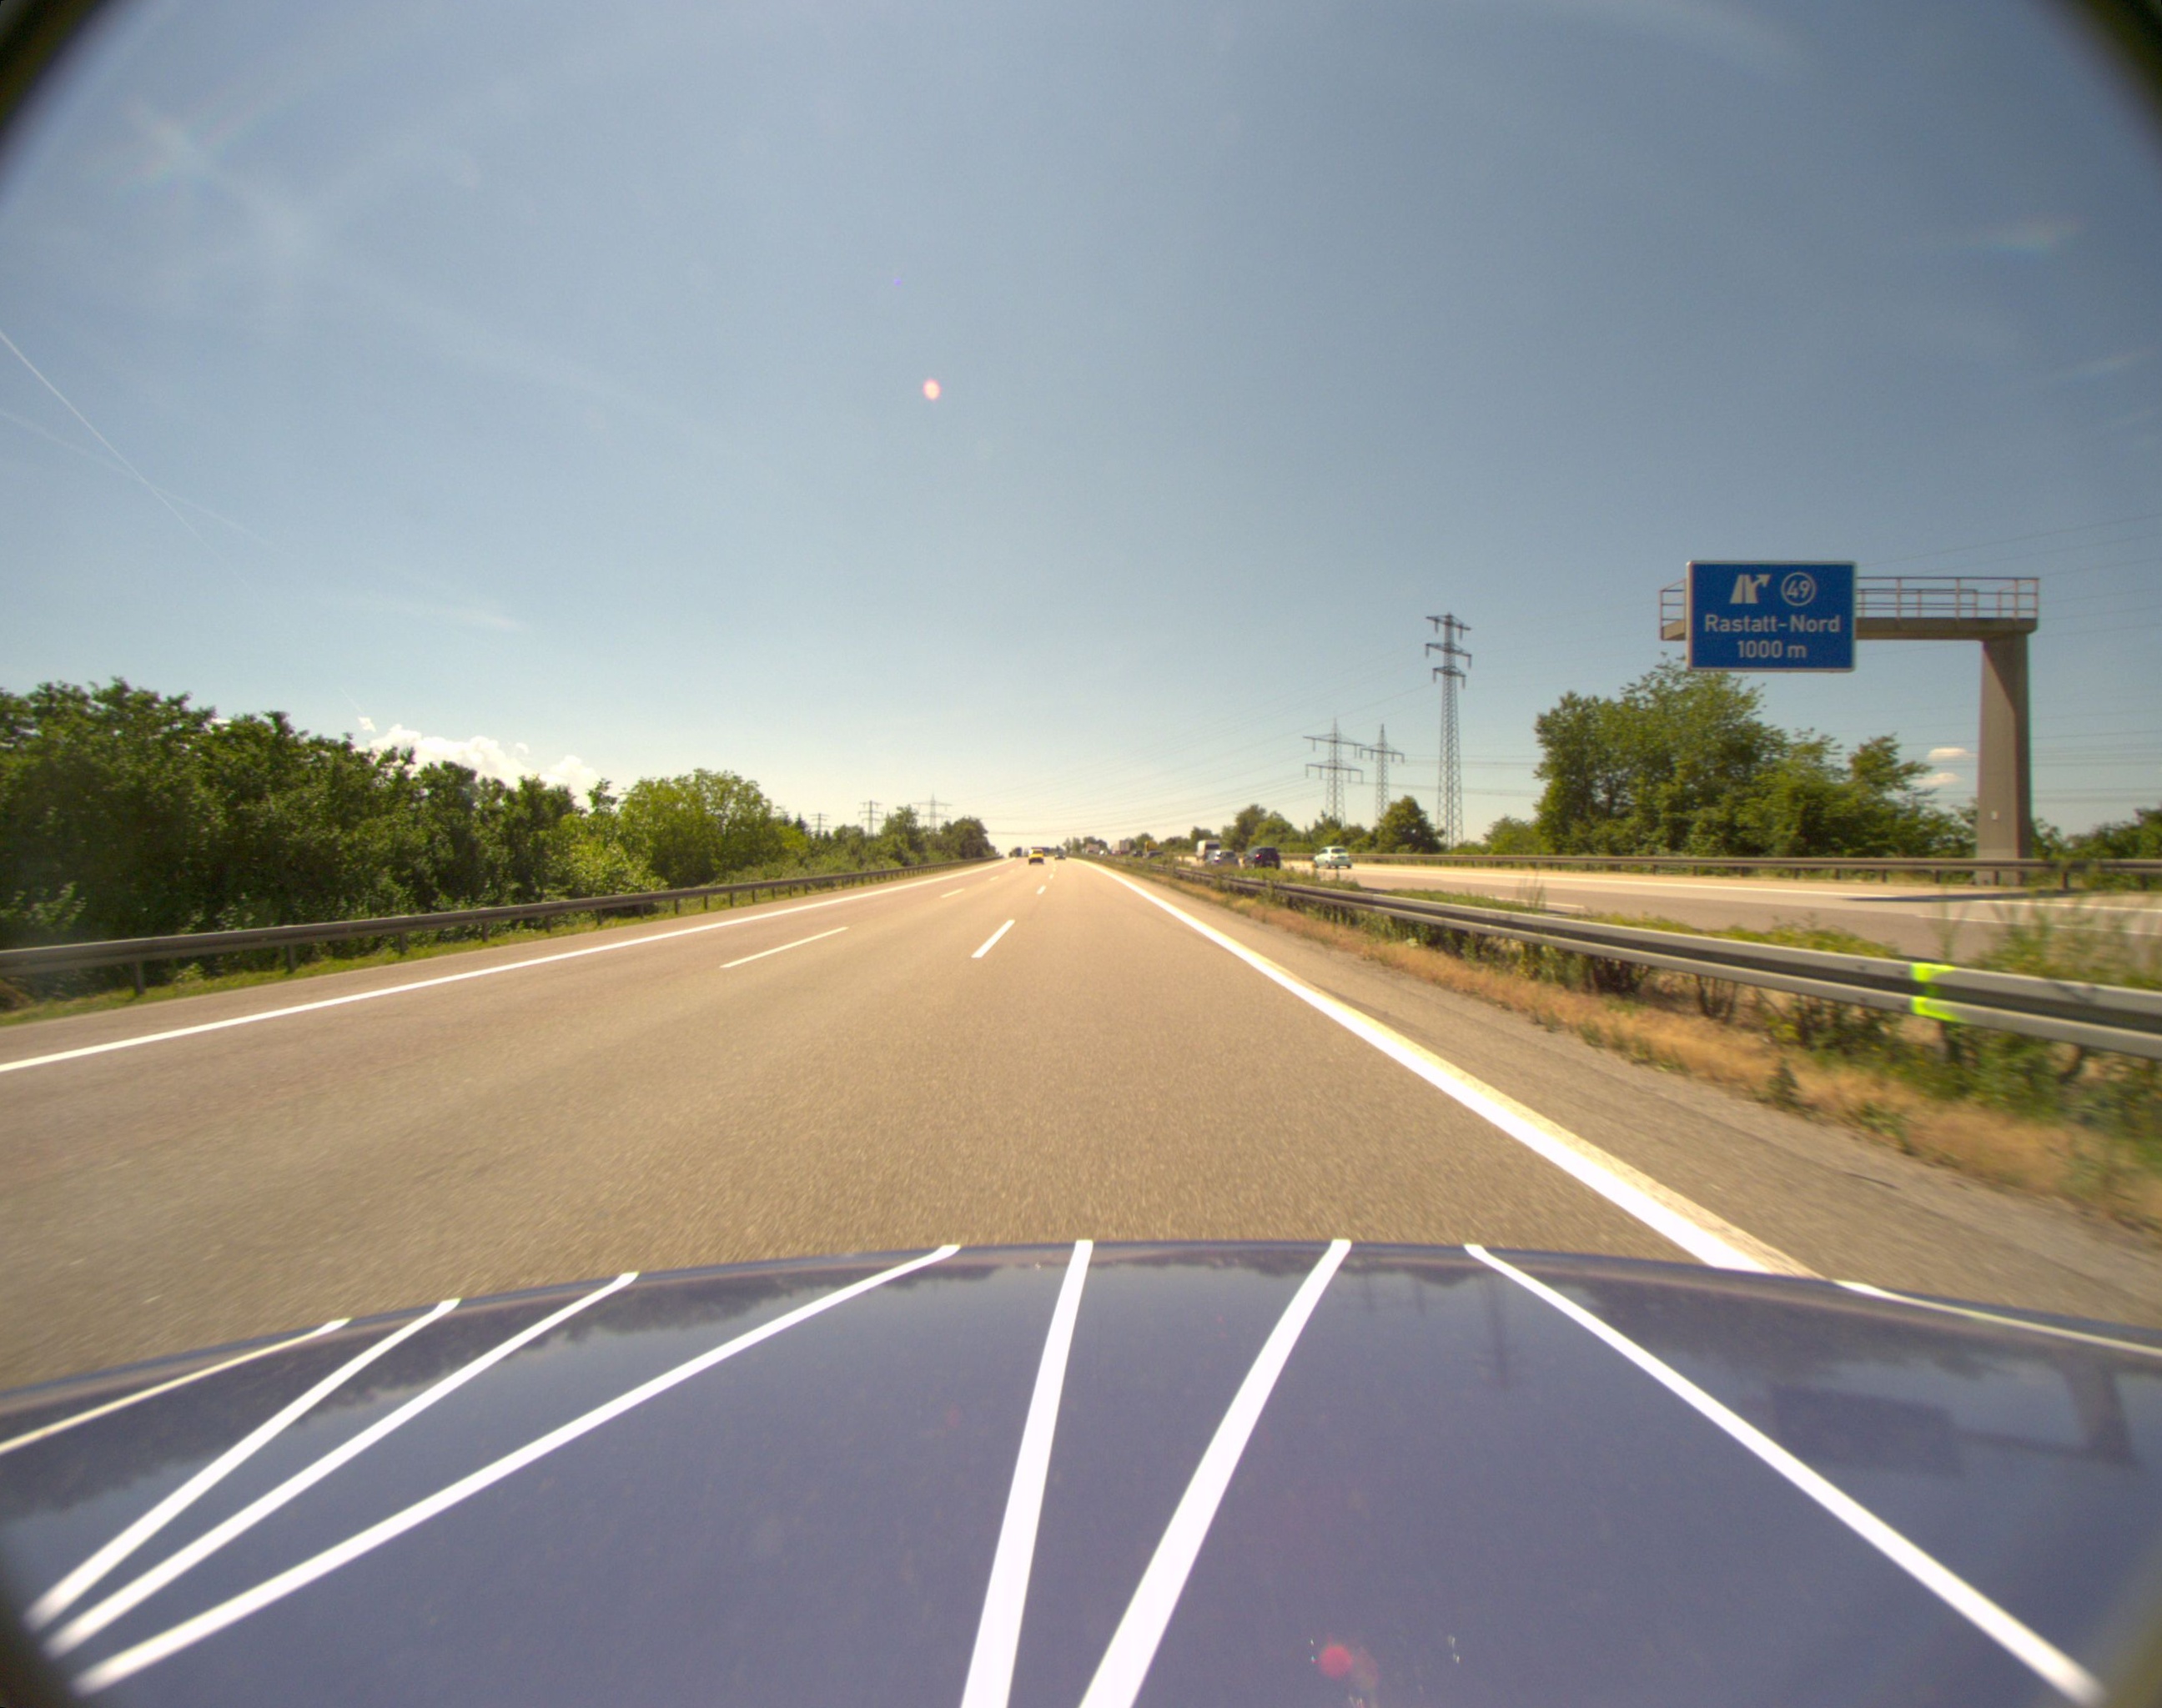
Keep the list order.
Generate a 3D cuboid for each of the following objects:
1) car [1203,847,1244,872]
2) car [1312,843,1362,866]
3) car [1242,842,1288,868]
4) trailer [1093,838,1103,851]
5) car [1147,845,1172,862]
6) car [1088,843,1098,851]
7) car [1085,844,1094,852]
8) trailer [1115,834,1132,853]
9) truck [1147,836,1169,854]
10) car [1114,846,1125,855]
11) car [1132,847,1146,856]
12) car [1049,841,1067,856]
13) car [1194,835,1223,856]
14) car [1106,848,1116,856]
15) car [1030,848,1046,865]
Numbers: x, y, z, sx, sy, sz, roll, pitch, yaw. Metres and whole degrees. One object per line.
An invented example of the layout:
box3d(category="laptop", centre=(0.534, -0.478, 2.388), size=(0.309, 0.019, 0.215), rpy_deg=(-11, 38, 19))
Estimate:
box3d(category="car", centre=(9.059, 0.309, 48.655), size=(1.751, 1.458, 4.249), rpy_deg=(-2, 1, 0))
box3d(category="car", centre=(17.330, 0.028, 51.718), size=(1.998, 1.449, 4.087), rpy_deg=(-2, 1, 0))
box3d(category="car", centre=(12.555, 0.051, 52.120), size=(1.999, 1.688, 4.606), rpy_deg=(-2, 1, -1))
box3d(category="trailer", centre=(5.885, -3.156, 260.299), size=(2.513, 4.019, 13.583), rpy_deg=(-2, 0, -3))
box3d(category="car", centre=(8.205, -0.102, 79.548), size=(1.999, 1.688, 4.605), rpy_deg=(-2, 1, -2))
box3d(category="car", centre=(2.998, -1.657, 188.704), size=(1.999, 1.871, 5.719), rpy_deg=(-1, 1, -3))
box3d(category="car", centre=(2.632, -1.811, 245.779), size=(2.000, 2.457, 6.486), rpy_deg=(-2, 1, -6))
box3d(category="trailer", centre=(10.708, -2.556, 192.455), size=(2.843, 4.232, 13.634), rpy_deg=(-2, 0, -3))
box3d(category="truck", centre=(14.069, -1.703, 139.453), size=(2.528, 3.133, 9.663), rpy_deg=(-1, 1, -3))
box3d(category="car", centre=(8.418, -0.792, 168.209), size=(1.999, 1.726, 4.812), rpy_deg=(-1, 1, -2))
box3d(category="car", centre=(9.948, -0.508, 130.761), size=(1.984, 1.501, 4.234), rpy_deg=(-2, 1, -2))
box3d(category="car", centre=(-4.083, -0.970, 134.582), size=(2.688, 2.509, 5.964), rpy_deg=(0, -1, -6))
box3d(category="car", centre=(15.718, -1.072, 93.777), size=(2.137, 2.463, 6.331), rpy_deg=(-2, 1, -3))
box3d(category="car", centre=(5.724, -0.371, 146.538), size=(1.636, 1.346, 3.827), rpy_deg=(-2, 1, -2))
box3d(category="car", centre=(-5.513, 0.325, 96.896), size=(1.956, 2.001, 5.431), rpy_deg=(0, -1, -4))
